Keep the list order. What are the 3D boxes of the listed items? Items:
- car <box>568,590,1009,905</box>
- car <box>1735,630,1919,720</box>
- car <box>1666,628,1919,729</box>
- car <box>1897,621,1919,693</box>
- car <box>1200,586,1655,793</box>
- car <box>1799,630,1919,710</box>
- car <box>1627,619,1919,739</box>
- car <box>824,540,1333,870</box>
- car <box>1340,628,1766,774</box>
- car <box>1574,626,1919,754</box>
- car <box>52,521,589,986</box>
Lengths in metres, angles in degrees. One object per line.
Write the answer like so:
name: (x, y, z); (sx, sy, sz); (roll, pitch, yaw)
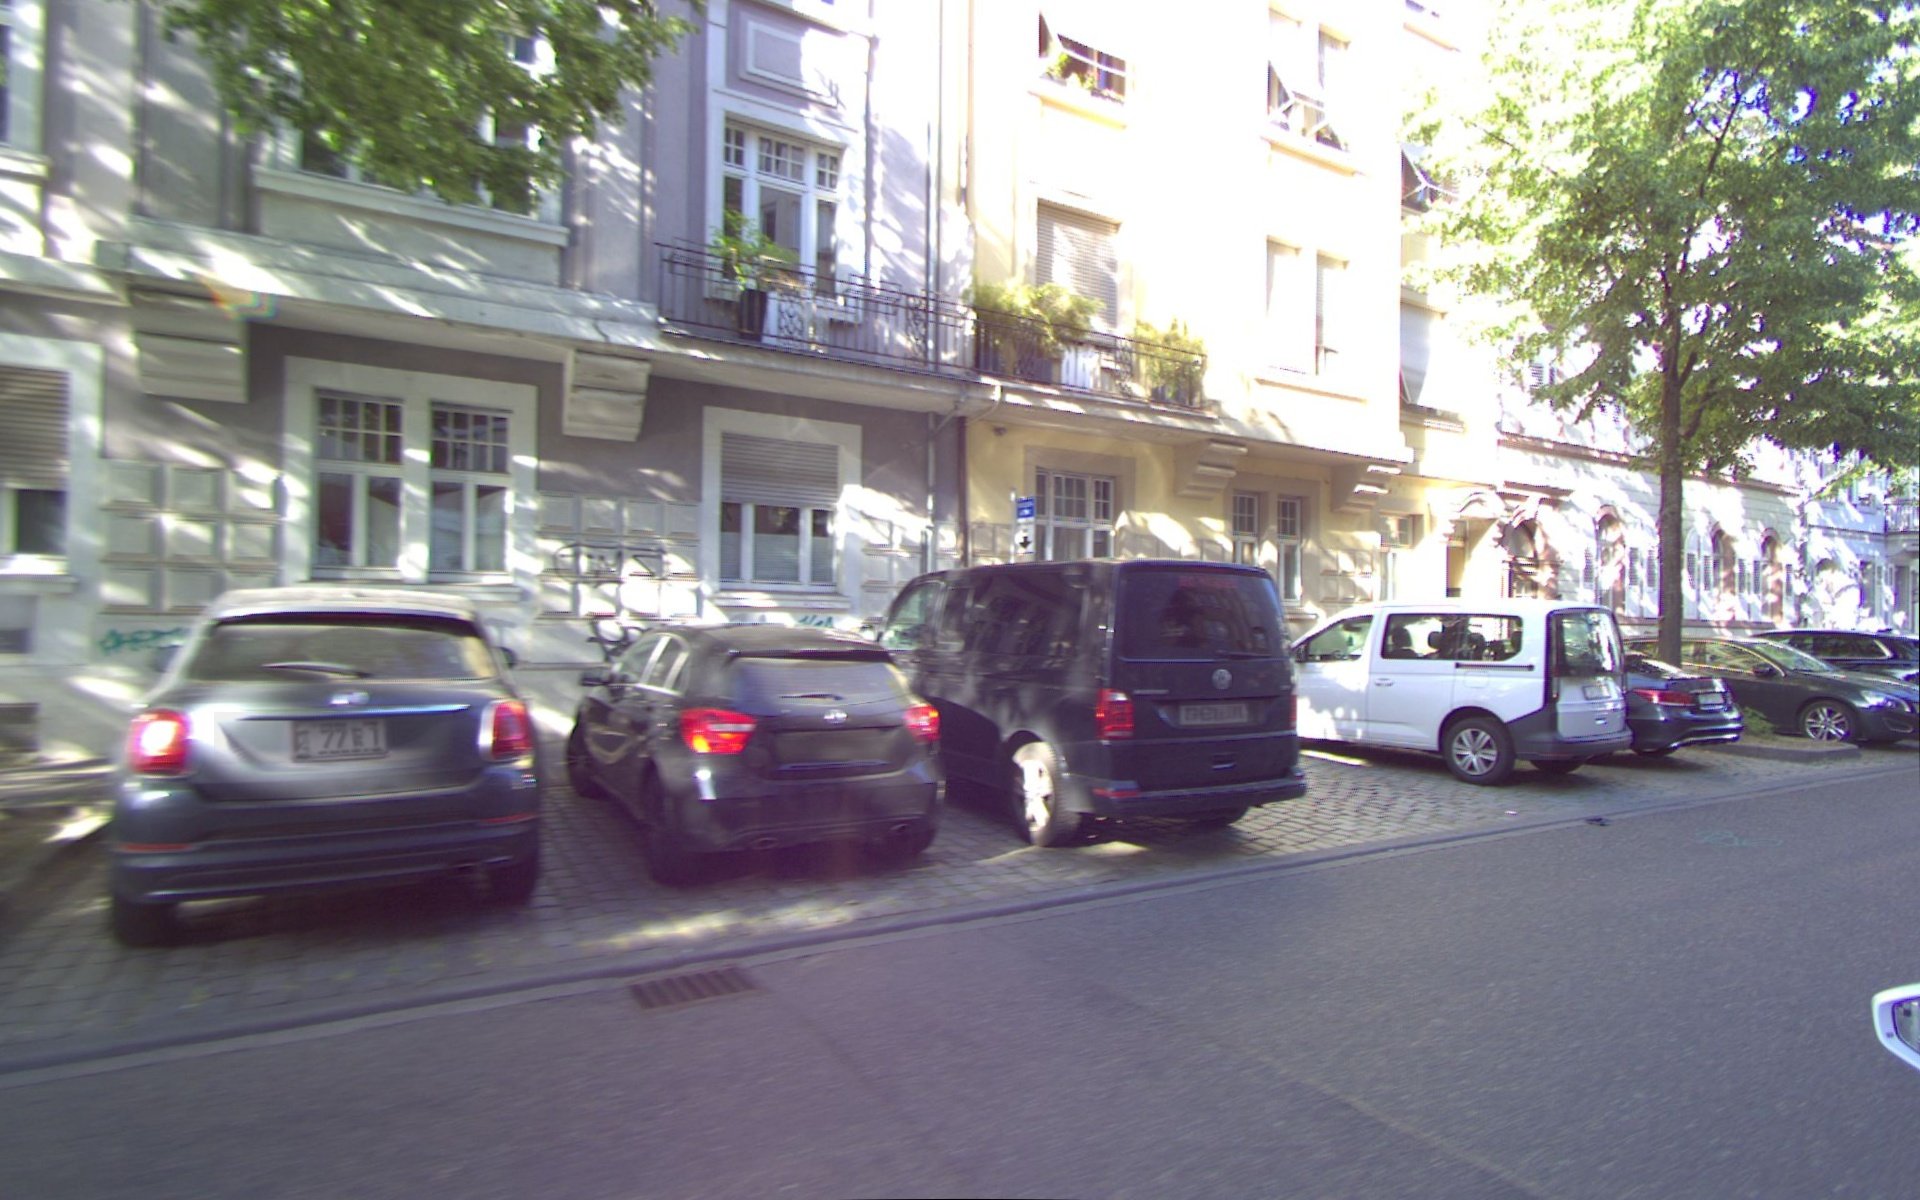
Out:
car: (-1.590, 0.803, 7.518); (1.894, 1.616, 4.319); (2, -1, -30)
car: (17.700, 1.402, 19.007); (1.894, 1.561, 4.445); (2, -1, -30)
car: (15.682, 1.346, 18.273); (1.787, 1.603, 4.320); (2, -1, -29)
car: (25.621, 1.435, 23.964); (1.893, 1.795, 4.448); (2, -1, -28)
car: (5.008, 0.849, 11.352); (1.897, 1.858, 4.311); (2, -1, -35)
car: (20.109, 1.434, 20.318); (1.891, 1.561, 4.452); (2, -1, -26)
car: (13.934, 1.206, 16.753); (1.894, 1.732, 4.320); (2, -1, -29)
car: (0.615, 0.667, 8.406); (1.907, 1.952, 4.553); (2, -1, -29)
car: (7.275, 1.124, 12.798); (1.895, 1.458, 4.317); (2, -1, -31)
car: (12.032, 1.218, 15.114); (1.892, 1.561, 4.449); (2, -1, -27)
car: (-3.646, 0.626, 6.167); (1.894, 1.756, 4.320); (2, -1, -29)
